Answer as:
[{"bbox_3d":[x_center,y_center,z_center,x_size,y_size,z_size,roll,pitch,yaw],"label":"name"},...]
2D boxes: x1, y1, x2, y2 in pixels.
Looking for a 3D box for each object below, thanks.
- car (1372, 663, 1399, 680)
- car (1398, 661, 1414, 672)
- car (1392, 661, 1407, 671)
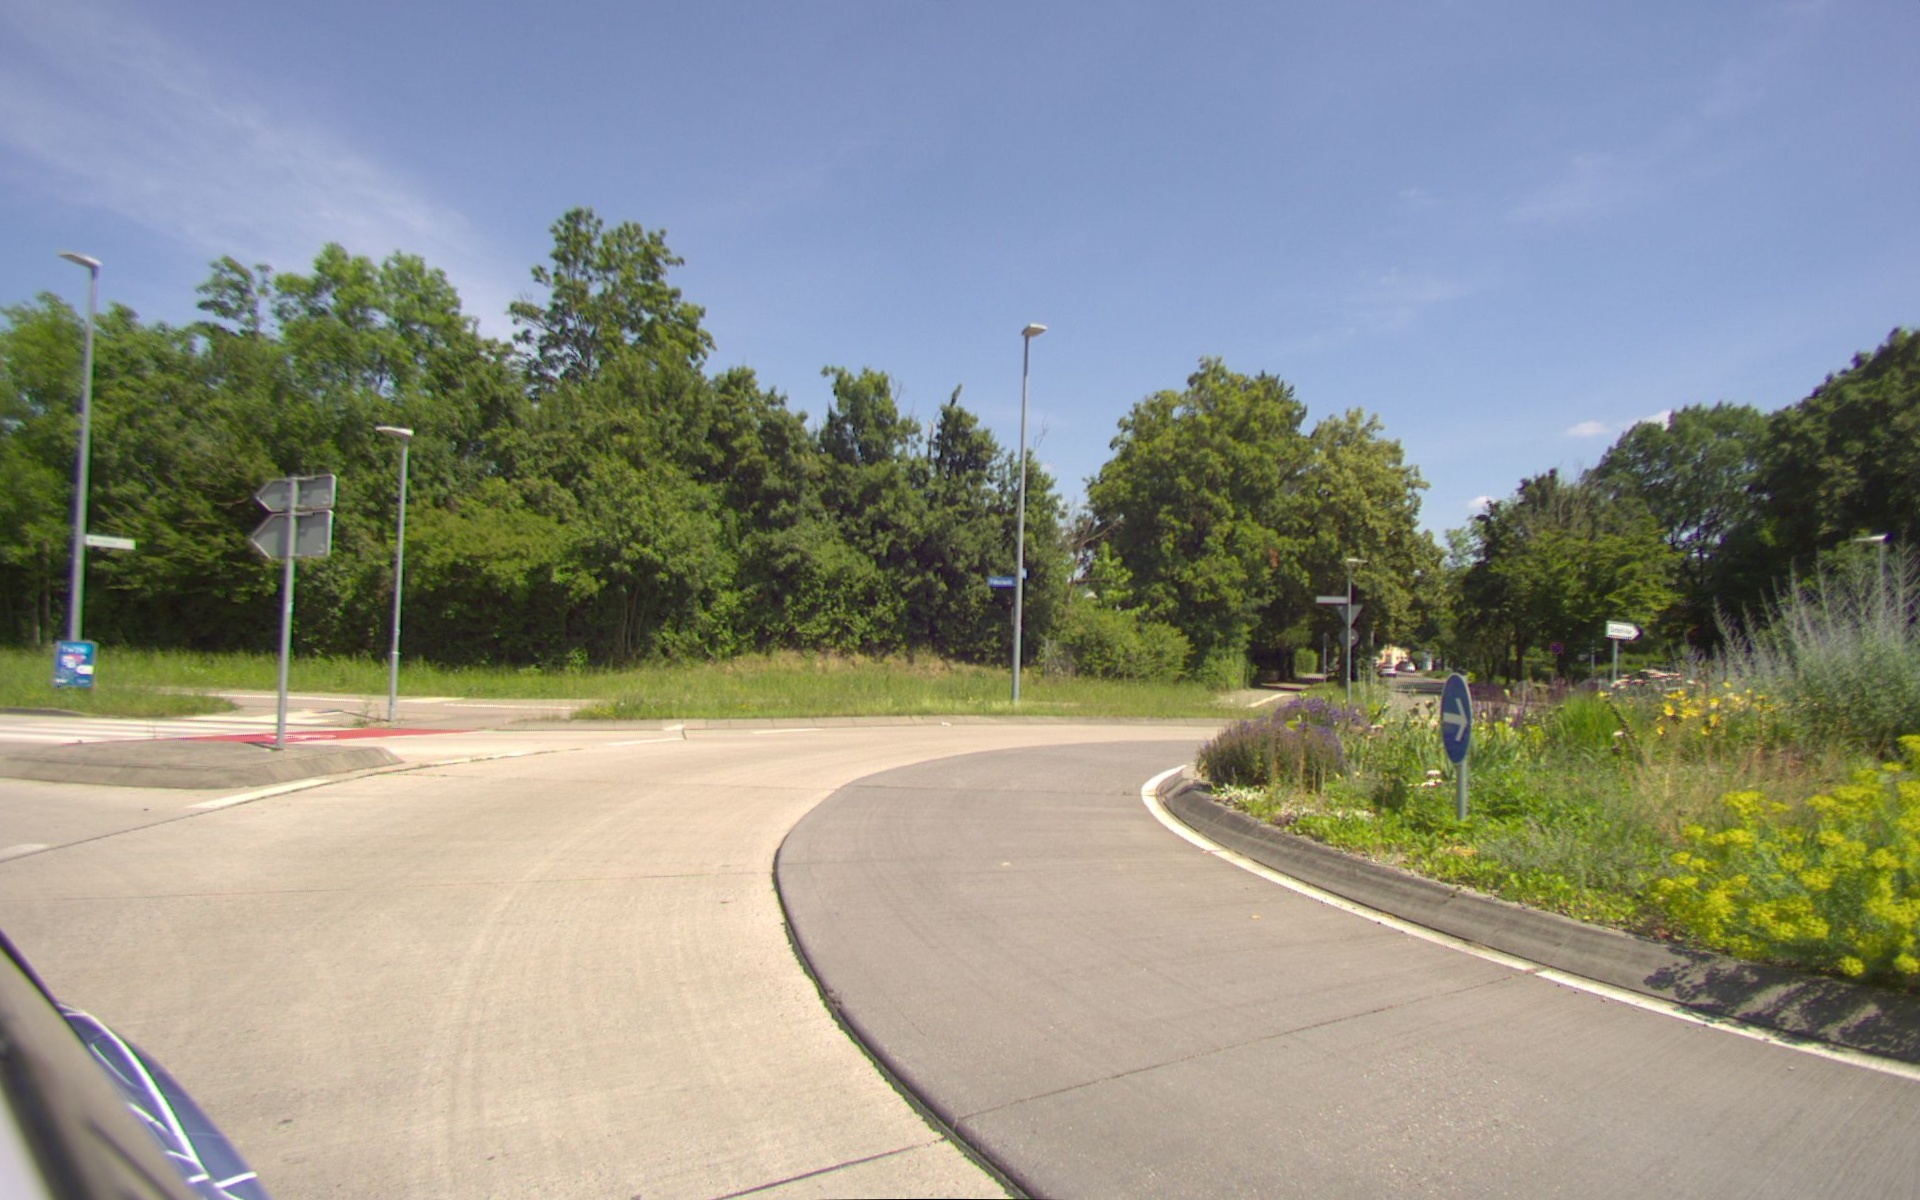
[{"bbox_3d":[48.642,8.150,115.721,1.979,1.645,3.985,1,-2,11],"label":"car"},{"bbox_3d":[78.845,11.773,178.915,1.982,1.645,3.980,1,-2,15],"label":"car"},{"bbox_3d":[81.914,12.303,188.572,1.982,1.645,3.980,1,-2,15],"label":"car"}]
